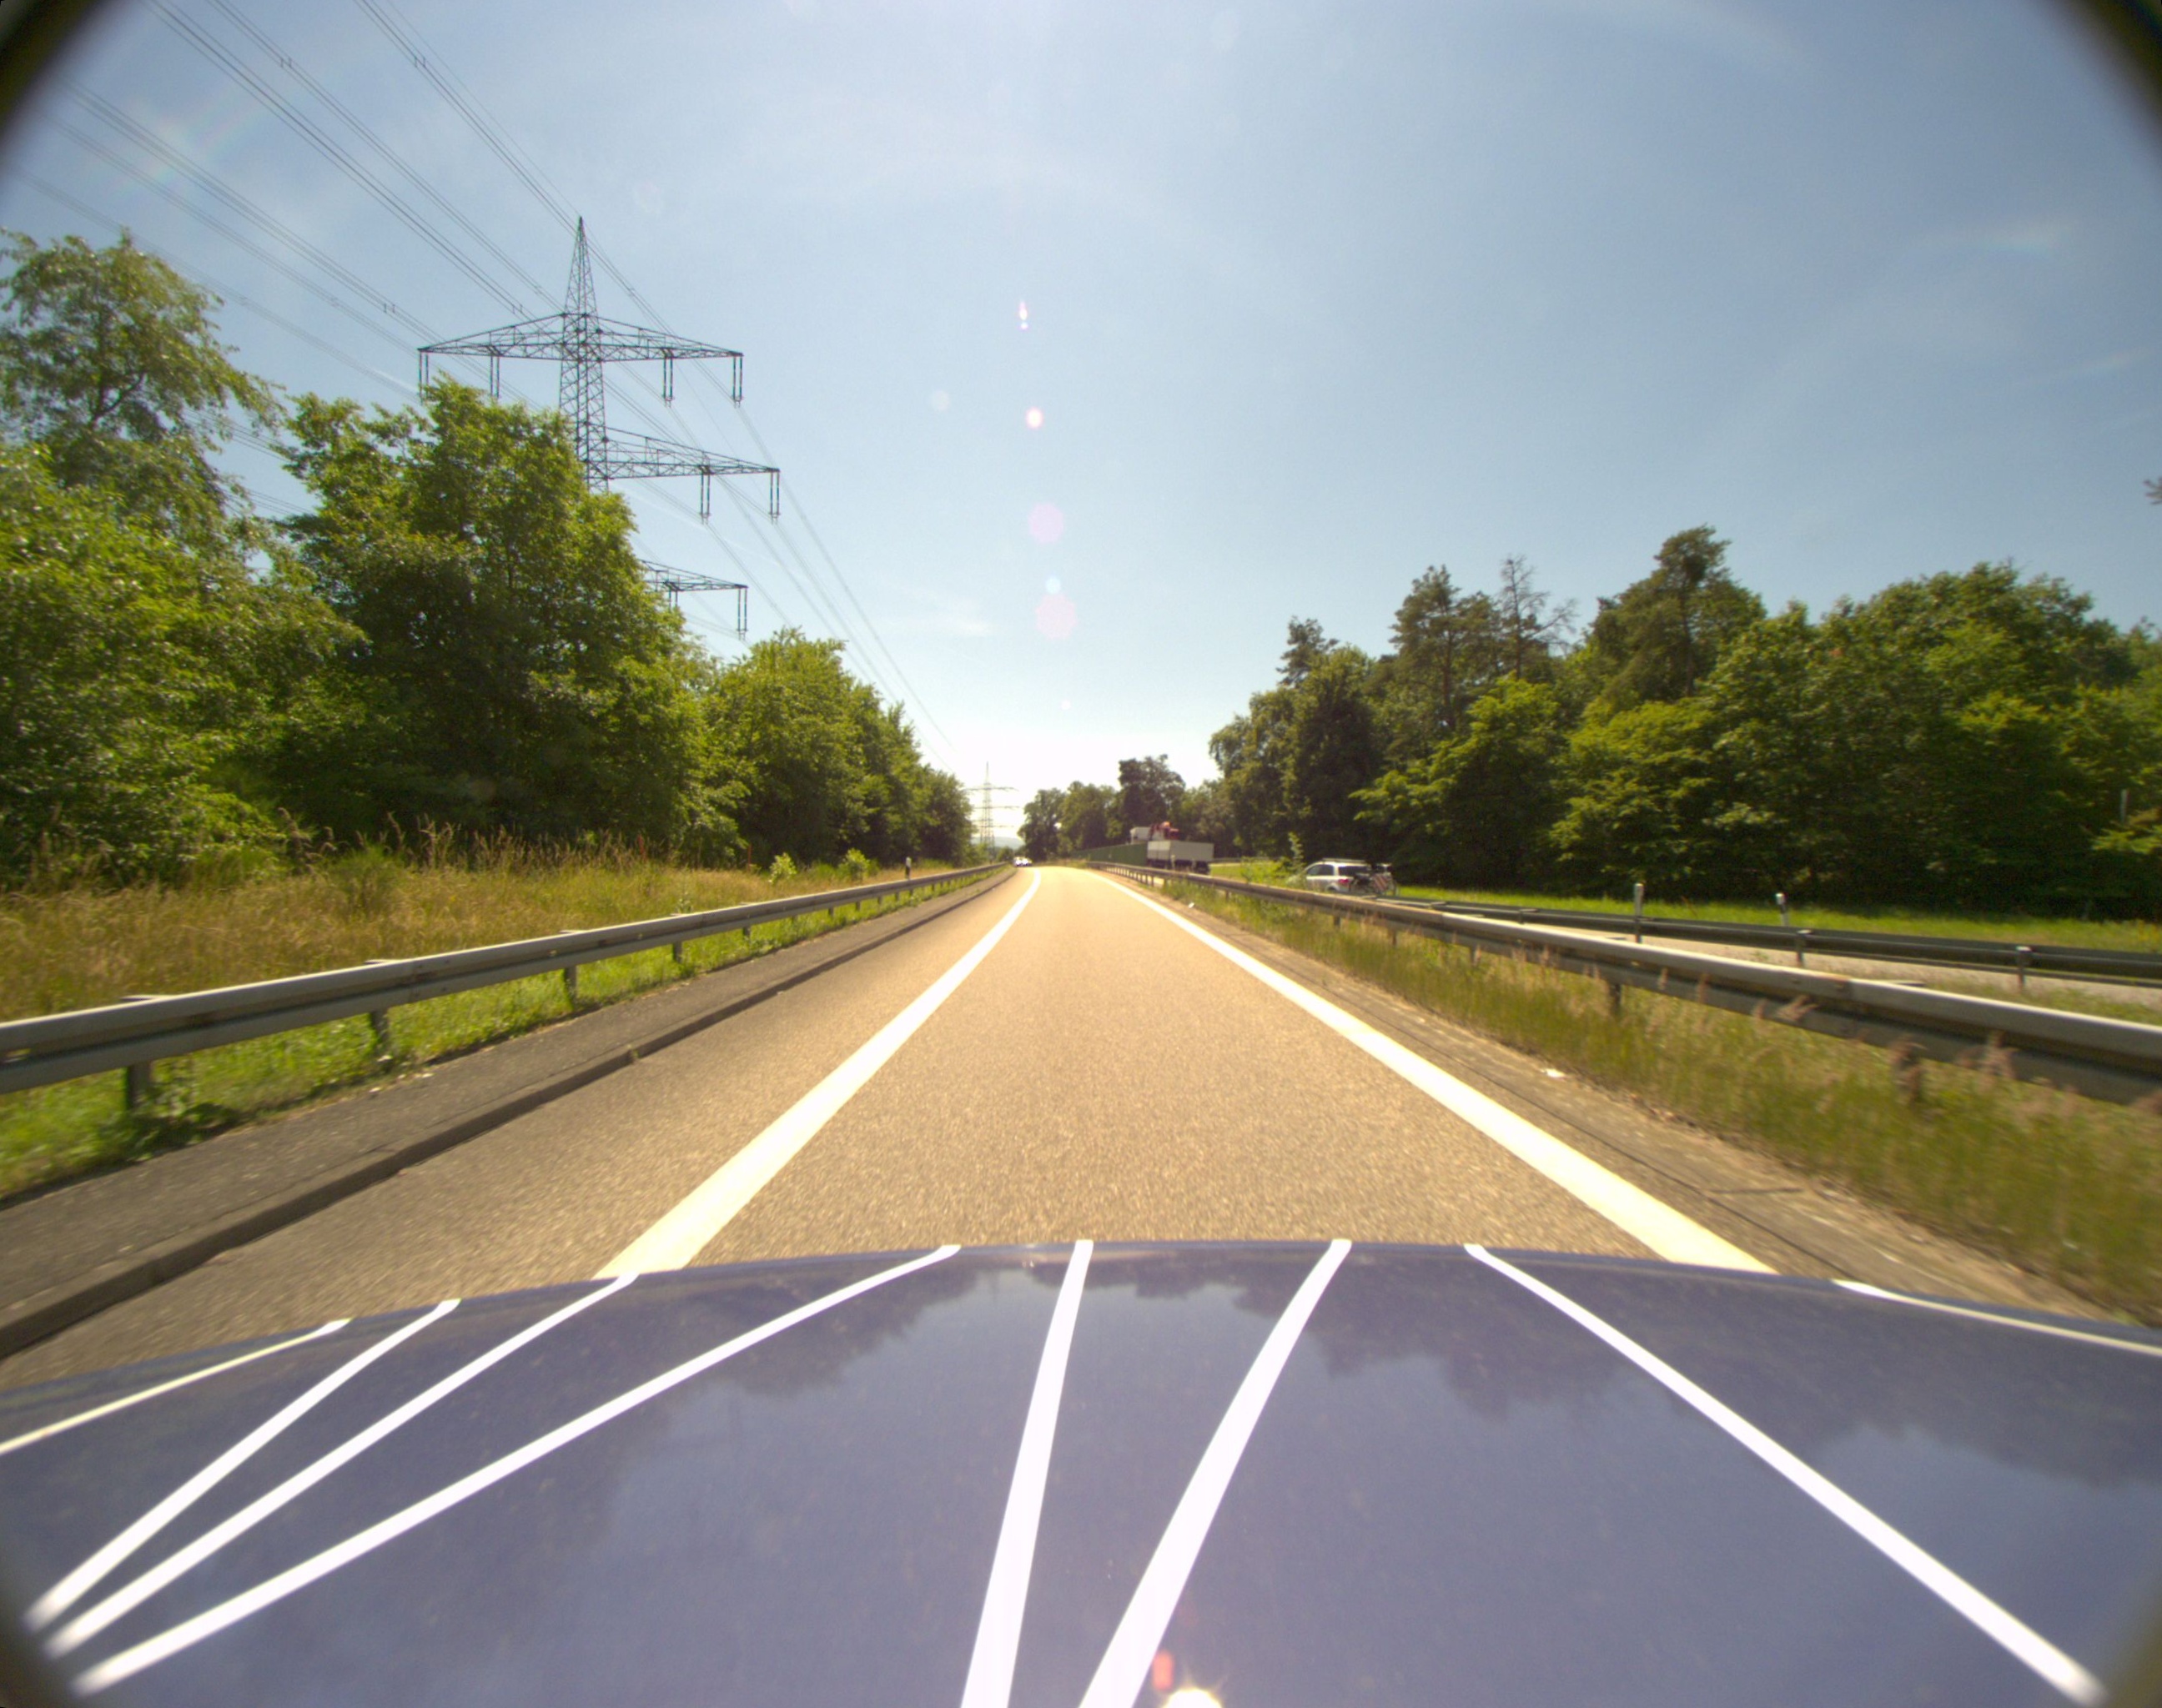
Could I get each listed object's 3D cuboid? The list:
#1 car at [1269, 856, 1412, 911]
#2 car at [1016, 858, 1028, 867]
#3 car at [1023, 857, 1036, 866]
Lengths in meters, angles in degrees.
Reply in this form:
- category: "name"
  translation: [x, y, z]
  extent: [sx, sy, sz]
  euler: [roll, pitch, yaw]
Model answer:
- category: "car"
  translation: [8.869, 0.954, 26.568]
  extent: [2.002, 1.631, 5.263]
  euler: [1, 1, -17]
- category: "car"
  translation: [-12.030, 1.696, 154.267]
  extent: [2.000, 1.674, 3.997]
  euler: [-2, 0, -10]
- category: "car"
  translation: [-9.367, 1.383, 137.801]
  extent: [2.000, 1.674, 3.997]
  euler: [-2, 0, -10]
